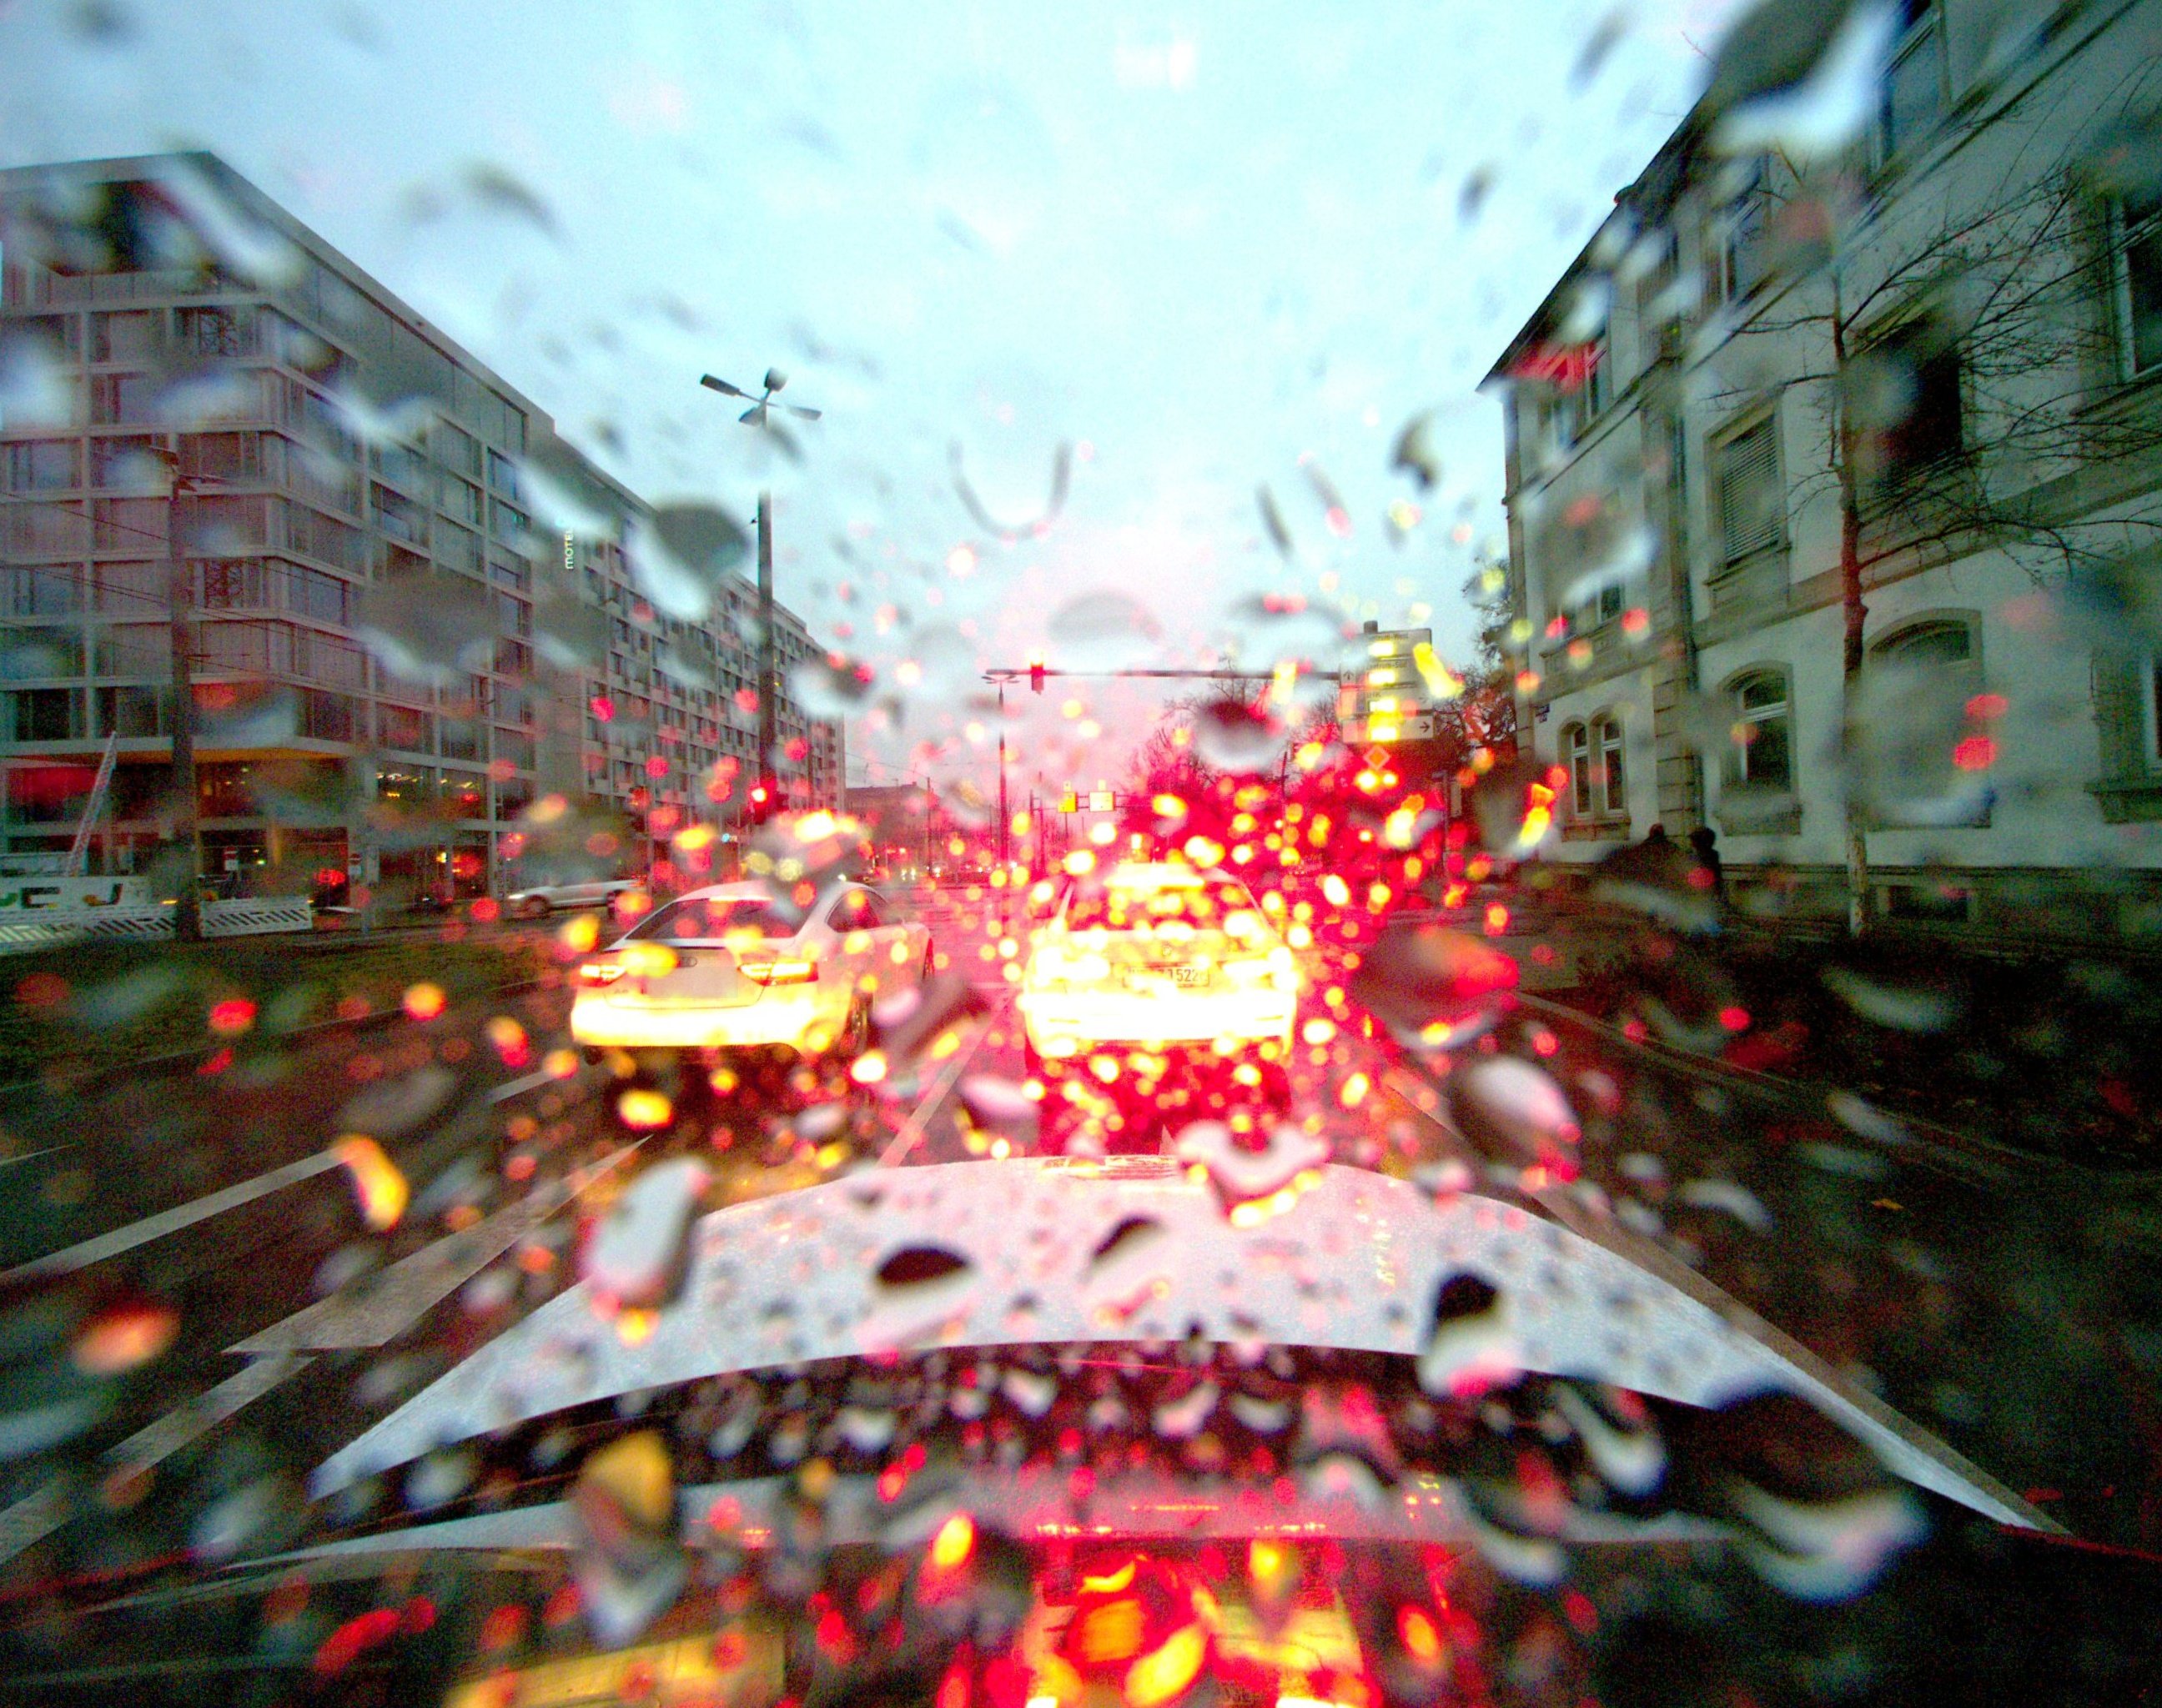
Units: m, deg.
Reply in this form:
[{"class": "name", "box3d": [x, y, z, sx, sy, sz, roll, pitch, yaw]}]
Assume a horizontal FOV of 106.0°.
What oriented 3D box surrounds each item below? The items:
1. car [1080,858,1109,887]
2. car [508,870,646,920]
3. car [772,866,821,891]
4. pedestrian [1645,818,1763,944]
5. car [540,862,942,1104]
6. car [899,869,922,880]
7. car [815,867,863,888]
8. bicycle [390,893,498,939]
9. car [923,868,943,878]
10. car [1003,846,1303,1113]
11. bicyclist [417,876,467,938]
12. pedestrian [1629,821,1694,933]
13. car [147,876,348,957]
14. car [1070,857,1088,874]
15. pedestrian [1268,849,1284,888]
[{"class": "car", "box3d": [1.014, 1.324, 59.644, 1.986, 2.014, 4.001, 0, -1, 2]}, {"class": "car", "box3d": [-18.592, 1.465, 30.297, 4.088, 1.687, 1.944, 0, -1, -23]}, {"class": "car", "box3d": [-21.733, 1.833, 62.463, 1.873, 1.789, 4.603, 0, -1, 4]}, {"class": "pedestrian", "box3d": [8.172, 0.347, 10.731, 0.779, 1.579, 1.011, 0, -1, 1]}, {"class": "car", "box3d": [-2.456, 0.815, 7.157, 1.754, 1.470, 4.250, 0, -1, 0]}, {"class": "car", "box3d": [-22.995, 2.742, 109.880, 1.987, 1.462, 5.094, 0, 0, 0]}, {"class": "car", "box3d": [-18.575, 1.784, 62.815, 1.986, 1.462, 5.097, 0, 0, 2]}, {"class": "bicycle", "box3d": [-29.496, 2.857, 37.742, 3.976, 2.014, 1.192, 0, -1, -2]}, {"class": "car", "box3d": [-22.403, 2.851, 123.562, 1.987, 1.462, 5.094, 0, 0, 0]}, {"class": "car", "box3d": [0.420, 0.751, 6.916, 1.754, 1.552, 4.250, 0, -1, 0]}, {"class": "bicyclist", "box3d": [-29.606, 2.431, 37.733, 1.344, 2.828, 1.192, 0, -1, -2]}, {"class": "pedestrian", "box3d": [8.952, 0.342, 12.588, 0.774, 1.632, 1.017, -1, -1, 34]}, {"class": "car", "box3d": [-25.042, 1.782, 24.586, 1.934, 2.123, 4.109, -1, -1, 40]}, {"class": "car", "box3d": [-0.210, 1.396, 97.936, 1.986, 2.014, 4.001, 0, -1, 2]}, {"class": "pedestrian", "box3d": [9.625, 0.709, 40.138, 0.707, 1.879, 0.678, -1, -1, 16]}]
